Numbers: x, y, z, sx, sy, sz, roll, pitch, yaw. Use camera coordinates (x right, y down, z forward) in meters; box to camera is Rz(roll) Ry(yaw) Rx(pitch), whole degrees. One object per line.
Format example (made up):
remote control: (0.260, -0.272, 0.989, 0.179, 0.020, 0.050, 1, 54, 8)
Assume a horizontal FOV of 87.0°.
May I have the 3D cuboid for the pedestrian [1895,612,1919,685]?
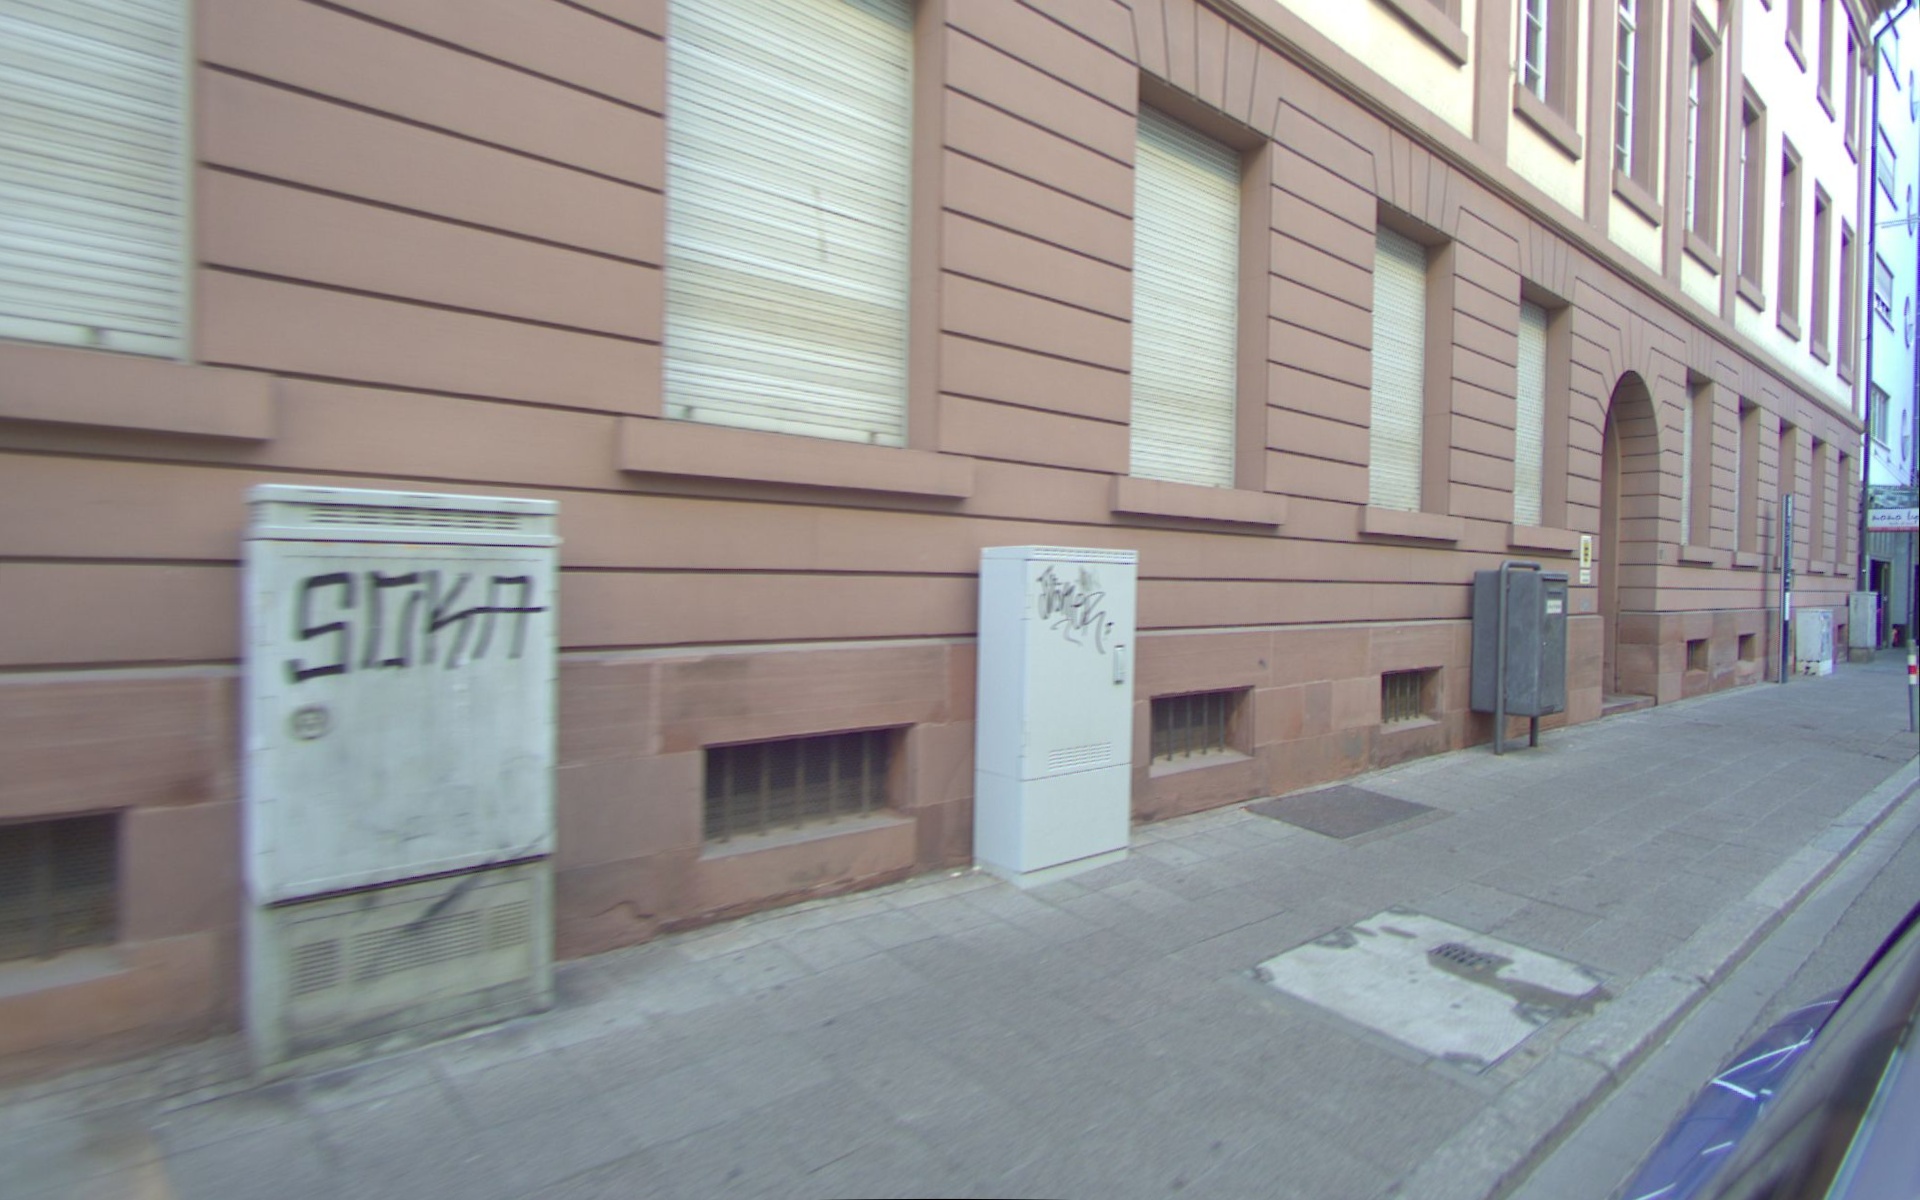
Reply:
pedestrian: (23.996, 1.218, 25.456, 0.638, 1.794, 0.592, 1, 1, 45)
